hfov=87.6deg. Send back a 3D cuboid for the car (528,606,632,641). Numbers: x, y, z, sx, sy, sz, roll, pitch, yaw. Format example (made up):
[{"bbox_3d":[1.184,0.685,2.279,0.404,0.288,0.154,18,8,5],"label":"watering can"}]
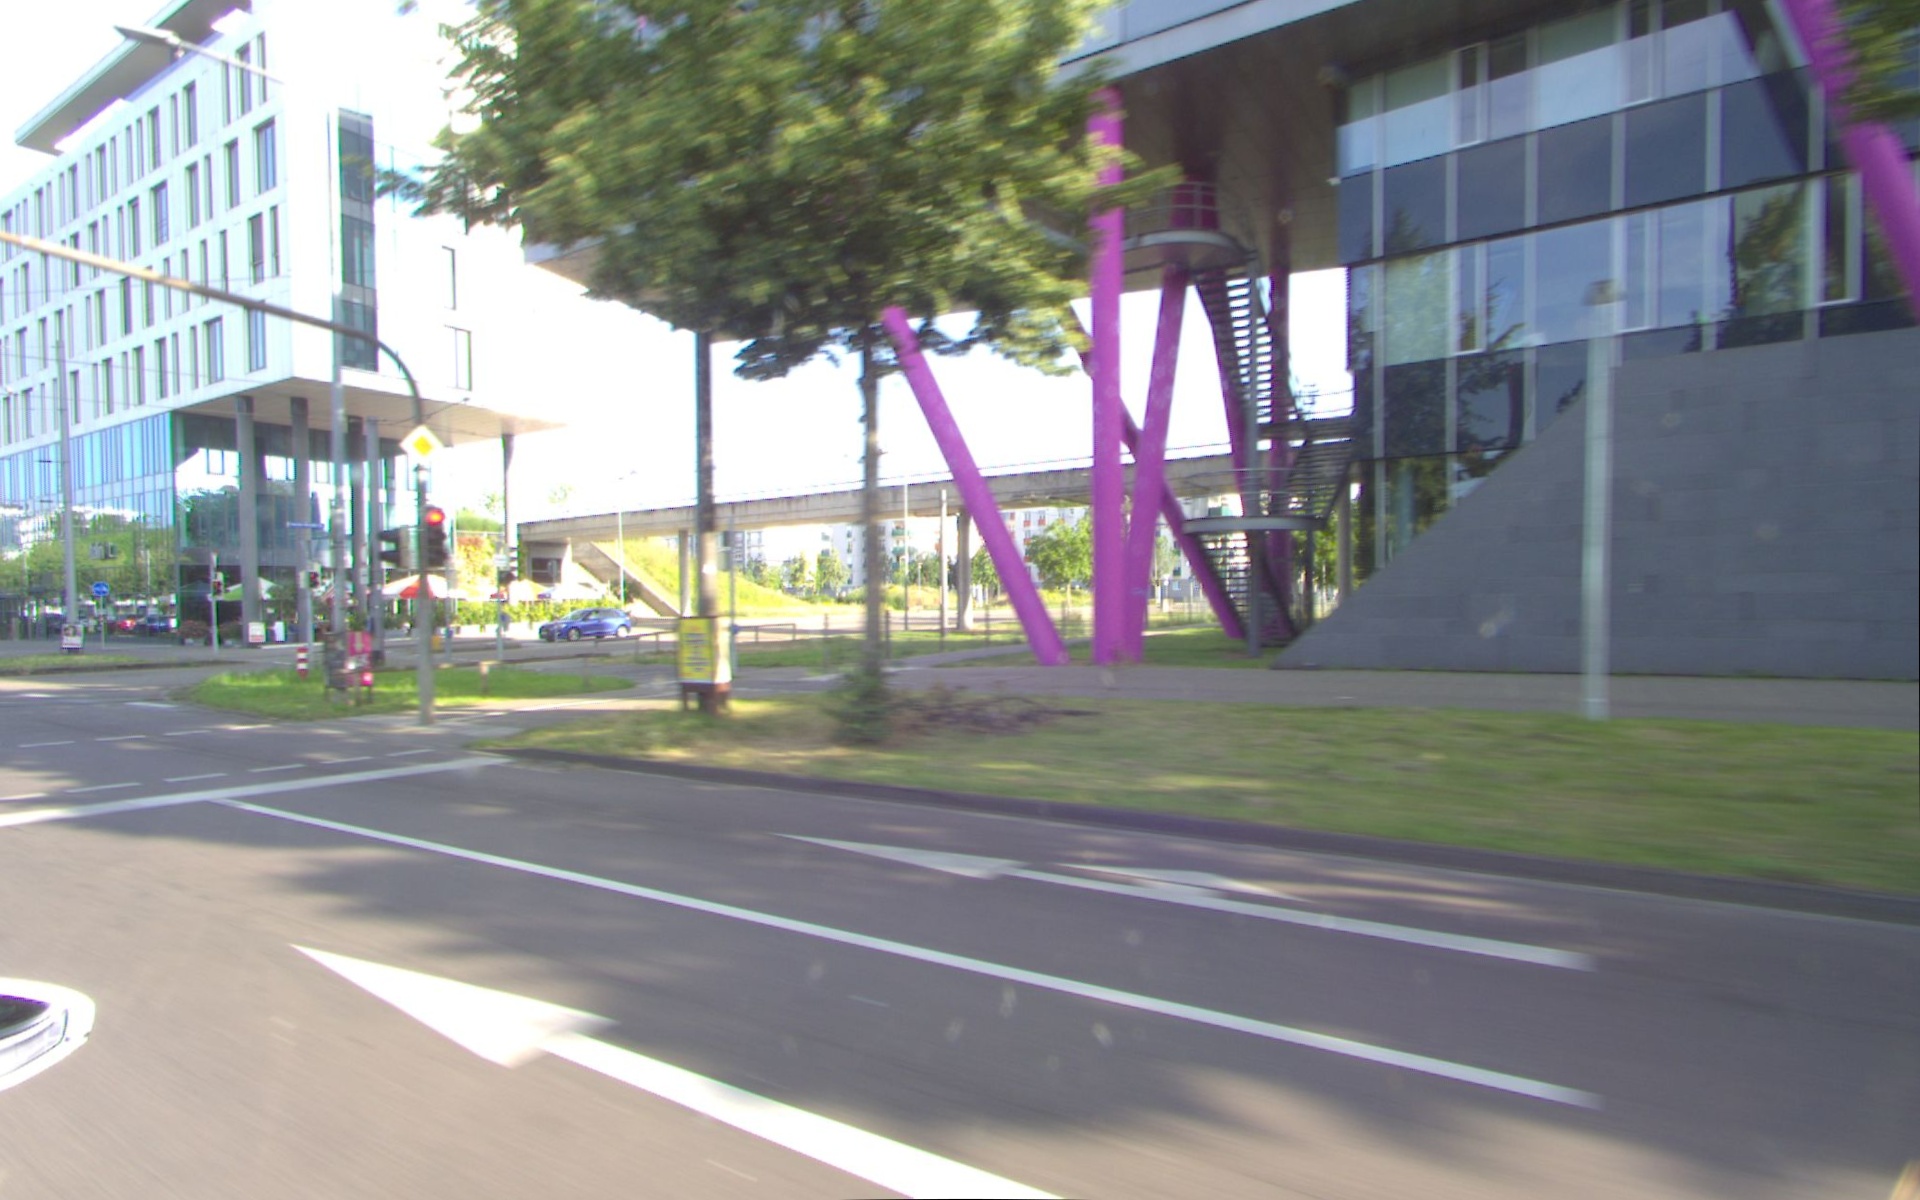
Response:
[{"bbox_3d":[-17.253,1.021,45.613,1.832,1.443,4.175,0,1,32],"label":"car"}]
